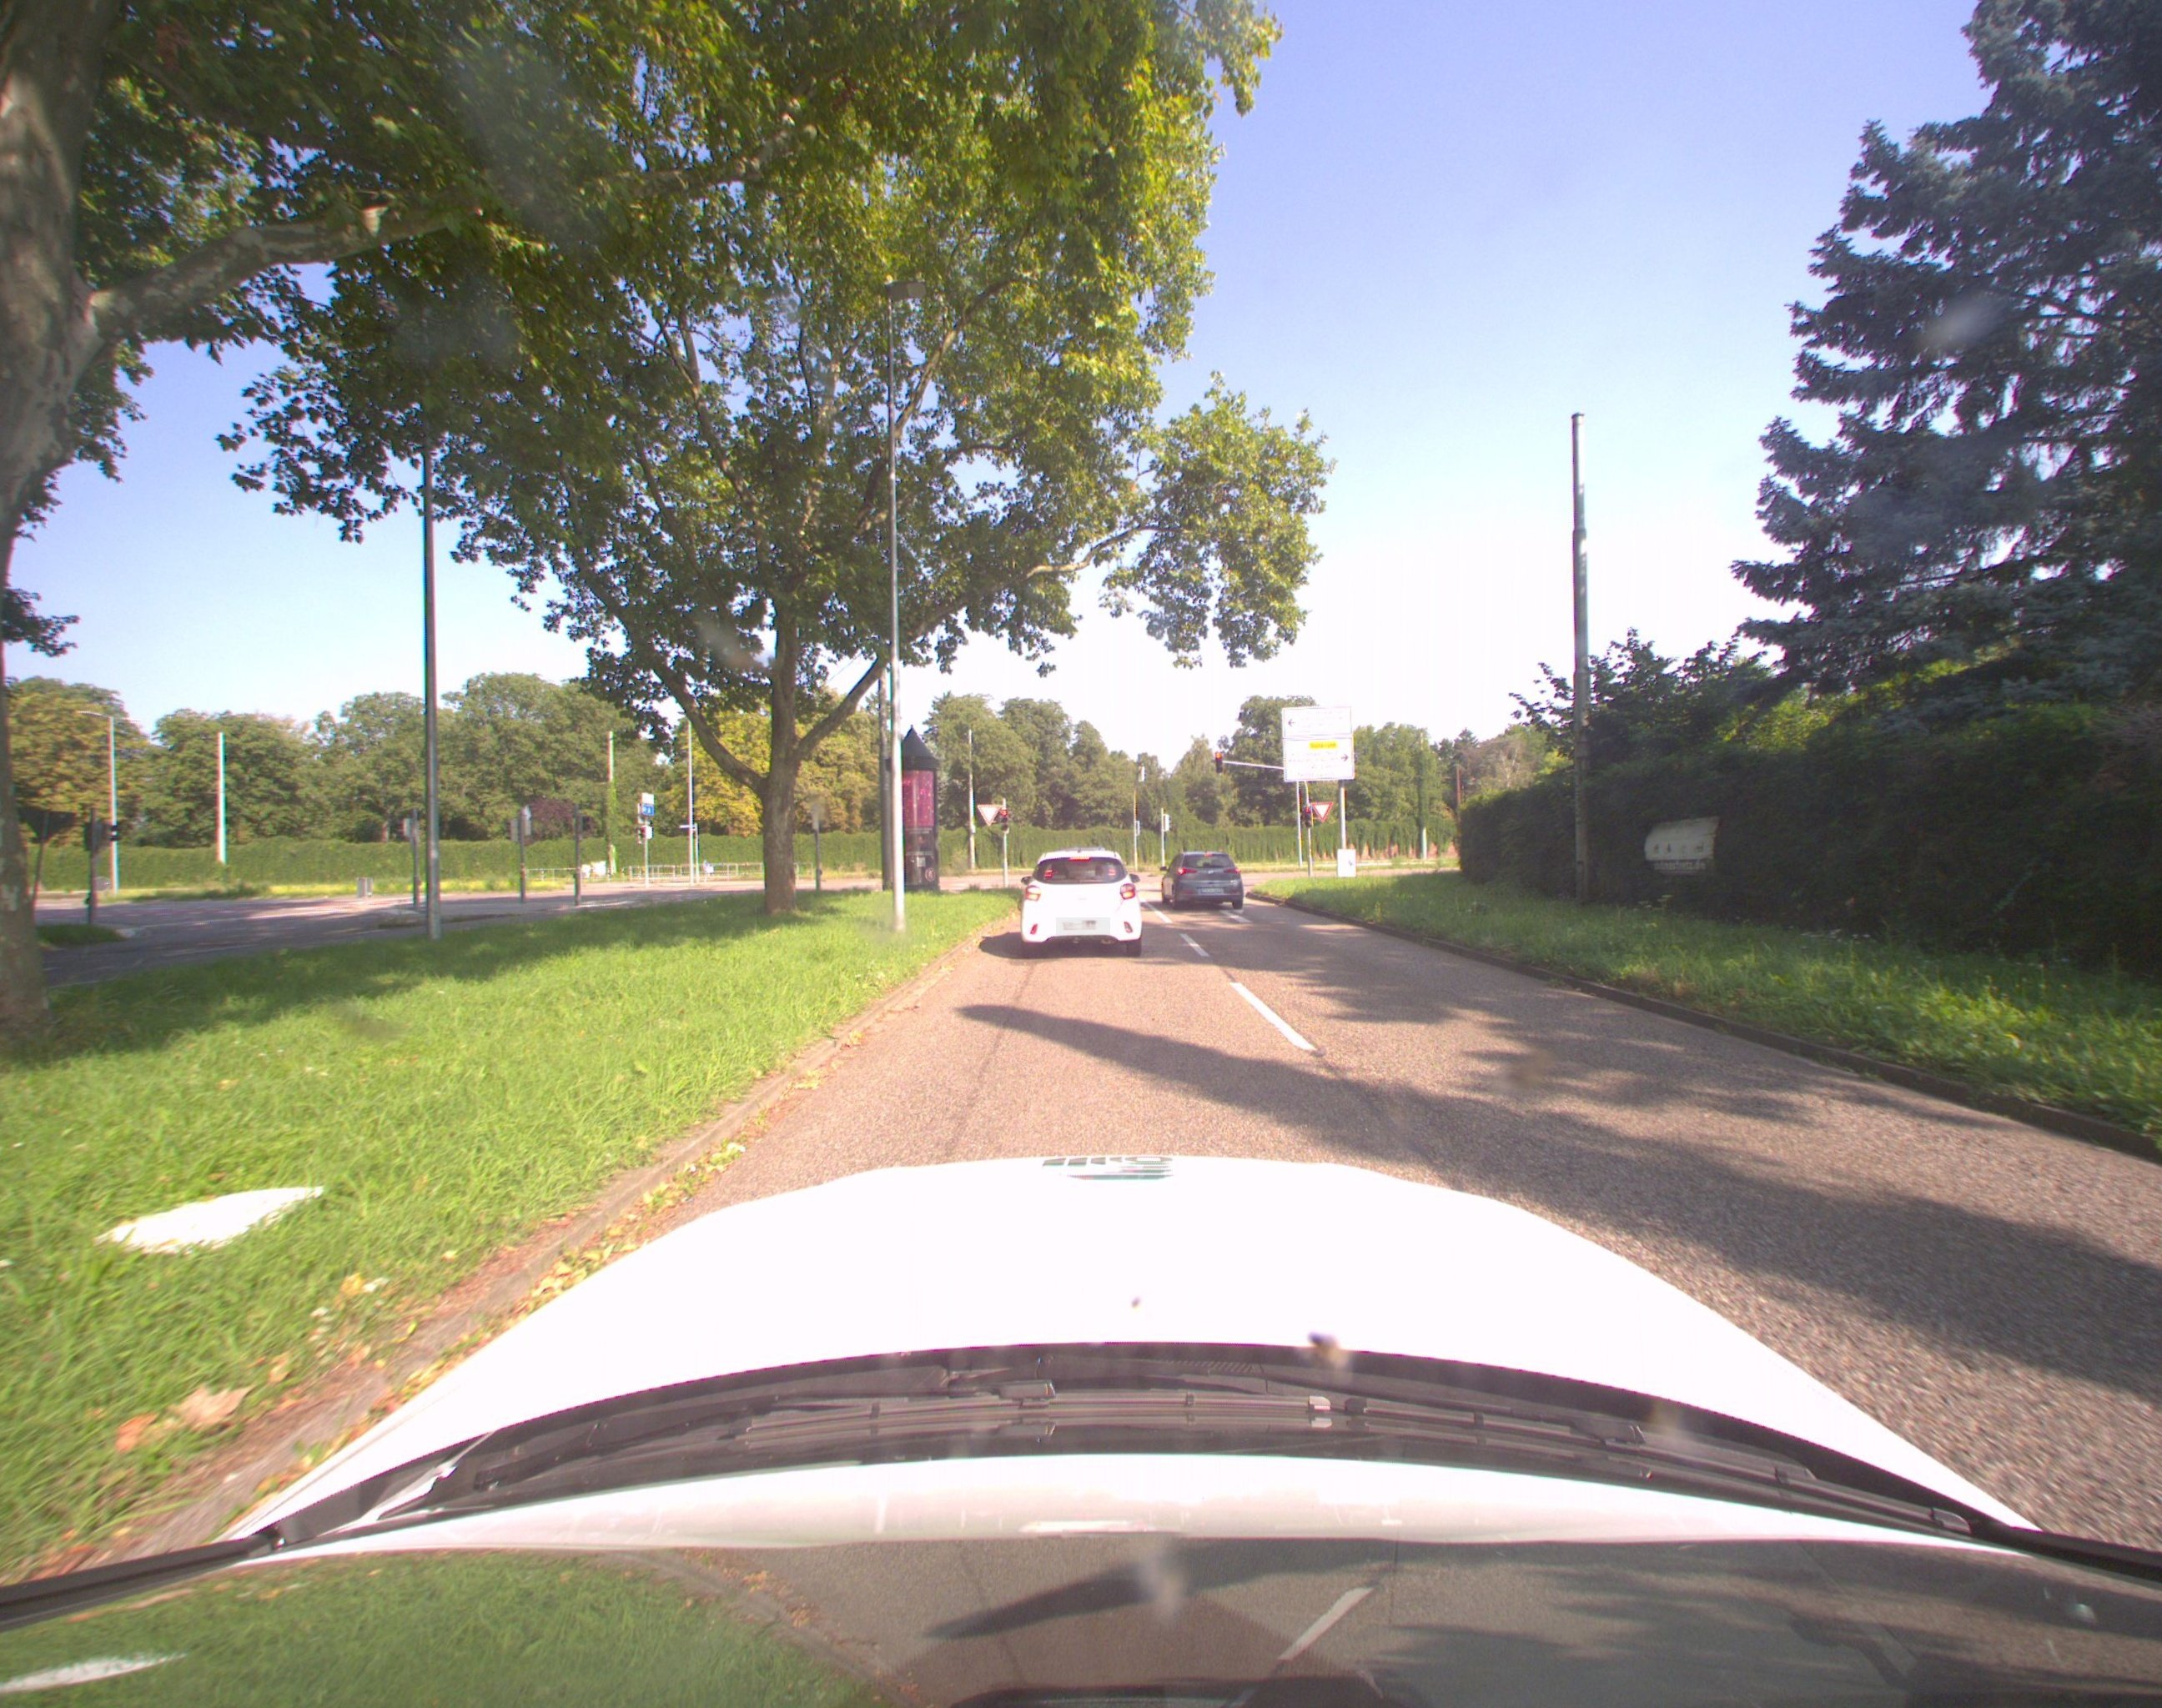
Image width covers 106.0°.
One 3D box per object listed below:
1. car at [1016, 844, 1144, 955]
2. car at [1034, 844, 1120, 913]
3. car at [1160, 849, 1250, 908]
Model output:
[{"bbox_3d":[0.059,0.597,12.872,1.681,1.462,4.002,-1,0,2],"label":"car"},{"bbox_3d":[0.010,0.519,19.531,1.679,1.462,3.855,-1,0,5],"label":"car"},{"bbox_3d":[3.171,0.576,21.530,1.791,1.401,4.000,-1,0,0],"label":"car"}]
